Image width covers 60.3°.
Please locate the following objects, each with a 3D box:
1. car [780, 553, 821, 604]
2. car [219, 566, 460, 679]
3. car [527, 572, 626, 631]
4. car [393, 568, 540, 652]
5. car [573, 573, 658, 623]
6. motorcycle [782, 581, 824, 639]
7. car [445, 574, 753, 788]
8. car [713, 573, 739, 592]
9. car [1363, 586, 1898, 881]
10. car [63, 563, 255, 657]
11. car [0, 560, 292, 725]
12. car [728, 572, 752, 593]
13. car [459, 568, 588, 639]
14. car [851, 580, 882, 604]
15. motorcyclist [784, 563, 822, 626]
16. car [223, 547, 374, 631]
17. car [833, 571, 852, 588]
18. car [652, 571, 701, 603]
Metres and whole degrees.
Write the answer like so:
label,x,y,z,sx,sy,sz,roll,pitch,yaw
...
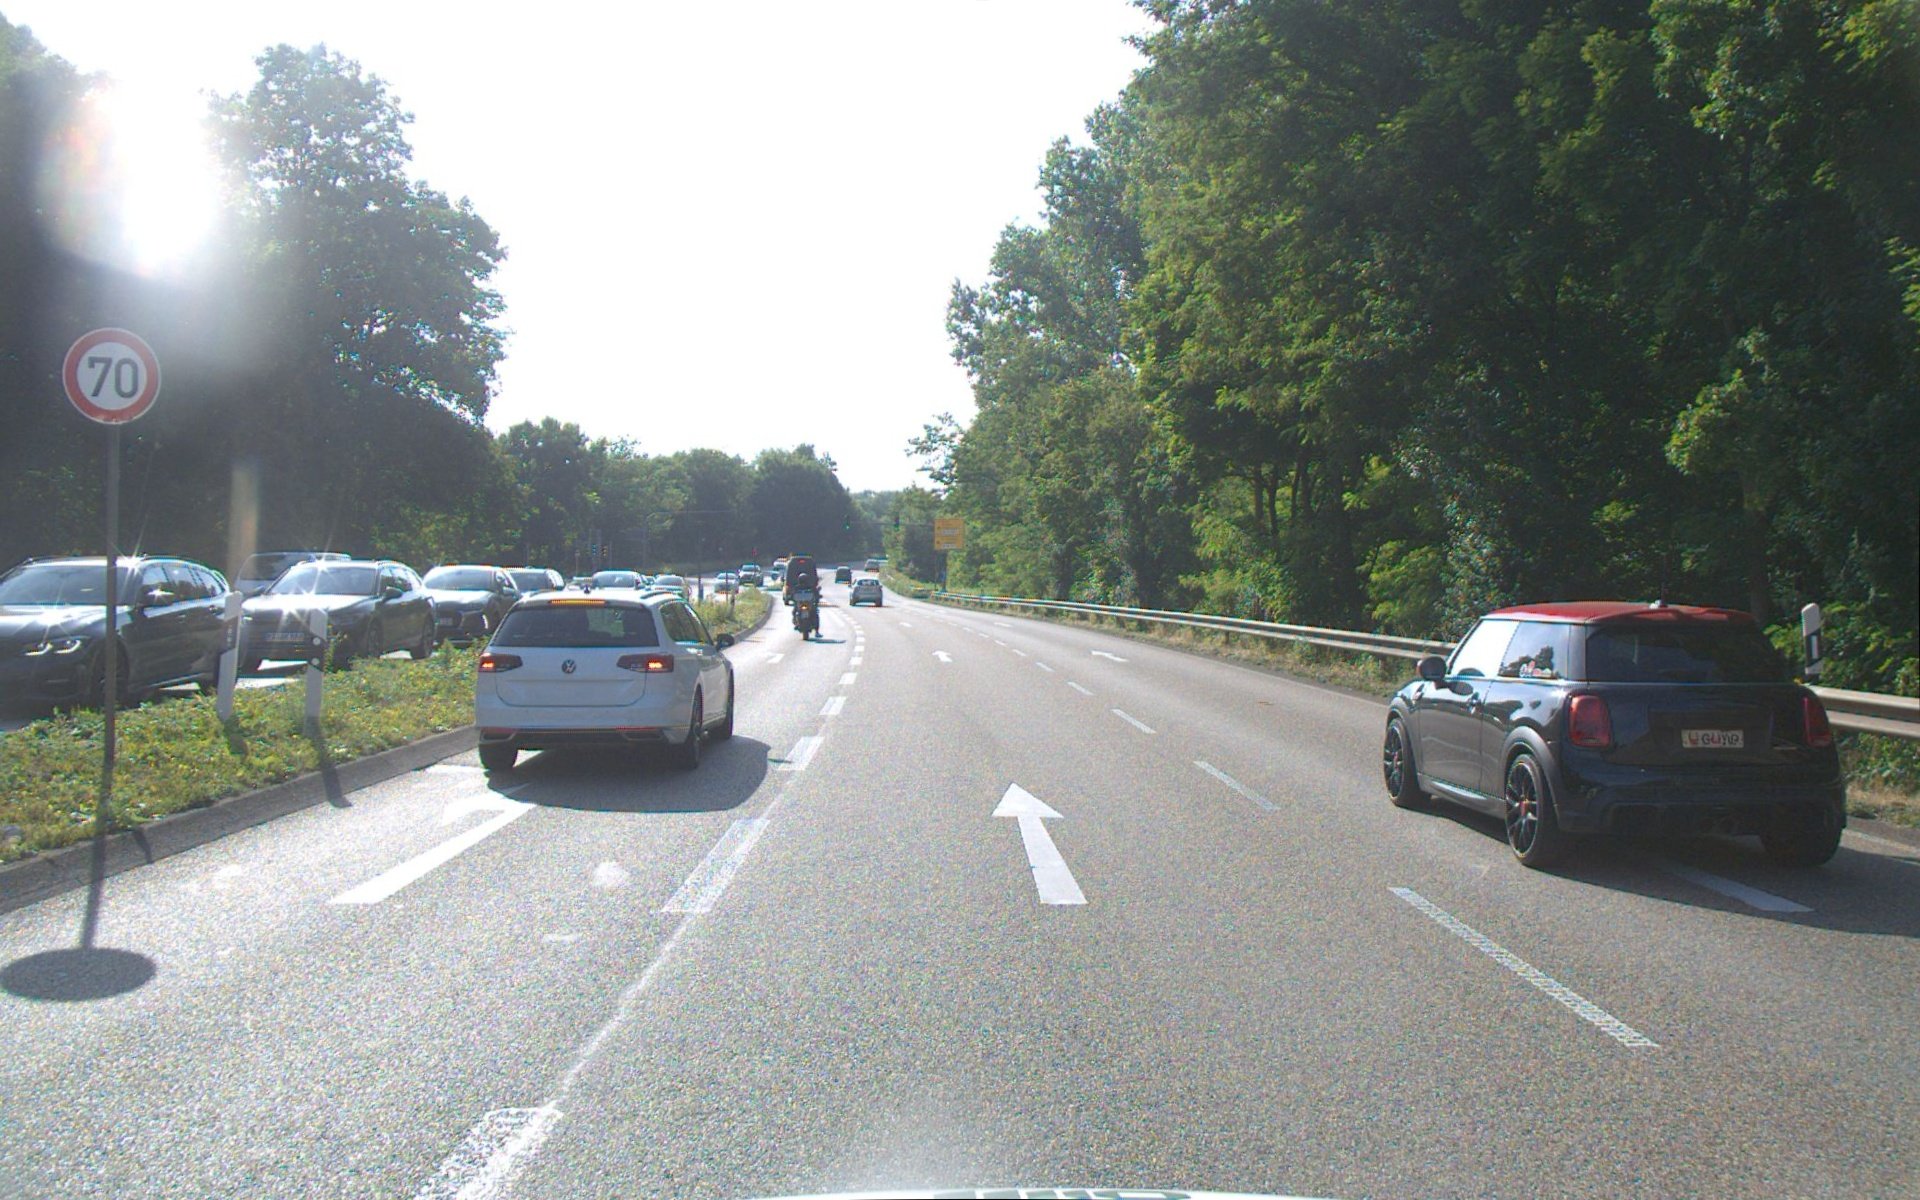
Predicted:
label,x,y,z,sx,sy,sz,roll,pitch,yaw
car,-9.563,-1.300,99.558,2.166,2.939,7.007,0,1,-3
car,-8.729,0.242,23.781,1.736,1.448,5.190,0,1,-3
car,-9.816,-0.010,42.656,1.732,1.442,4.432,0,1,-3
car,-9.079,0.129,30.768,1.673,1.448,4.209,0,1,-3
car,-10.320,-0.096,49.802,1.830,1.442,4.413,0,1,-3
motorcycle,-4.265,0.253,45.114,0.890,1.478,2.688,-2,1,-1
car,-3.057,0.583,15.048,1.832,1.548,4.832,2,1,-2
car,-17.956,-1.365,126.985,1.753,1.436,4.222,1,1,-6
car,3.947,0.672,10.496,1.783,1.493,3.872,0,1,-1
car,-12.909,0.136,26.880,1.515,1.408,3.616,1,1,-3
car,-8.414,0.320,16.509,1.736,1.403,4.841,0,1,-3
car,-19.908,-1.606,149.919,2.036,1.794,4.751,-1,1,-6
car,-9.504,0.033,36.414,1.732,1.448,5.190,0,1,-3
car,-5.540,-0.498,98.458,1.726,1.404,3.970,1,1,-2
motorcyclist,-4.279,-0.163,45.101,0.866,1.644,1.290,2,1,-1
car,-16.593,-0.279,41.795,1.971,1.969,5.099,1,1,-3
car,-12.063,-2.115,169.813,1.711,1.564,3.920,2,1,-7
car,-16.090,-0.737,94.131,2.061,1.738,6.221,1,1,-3
